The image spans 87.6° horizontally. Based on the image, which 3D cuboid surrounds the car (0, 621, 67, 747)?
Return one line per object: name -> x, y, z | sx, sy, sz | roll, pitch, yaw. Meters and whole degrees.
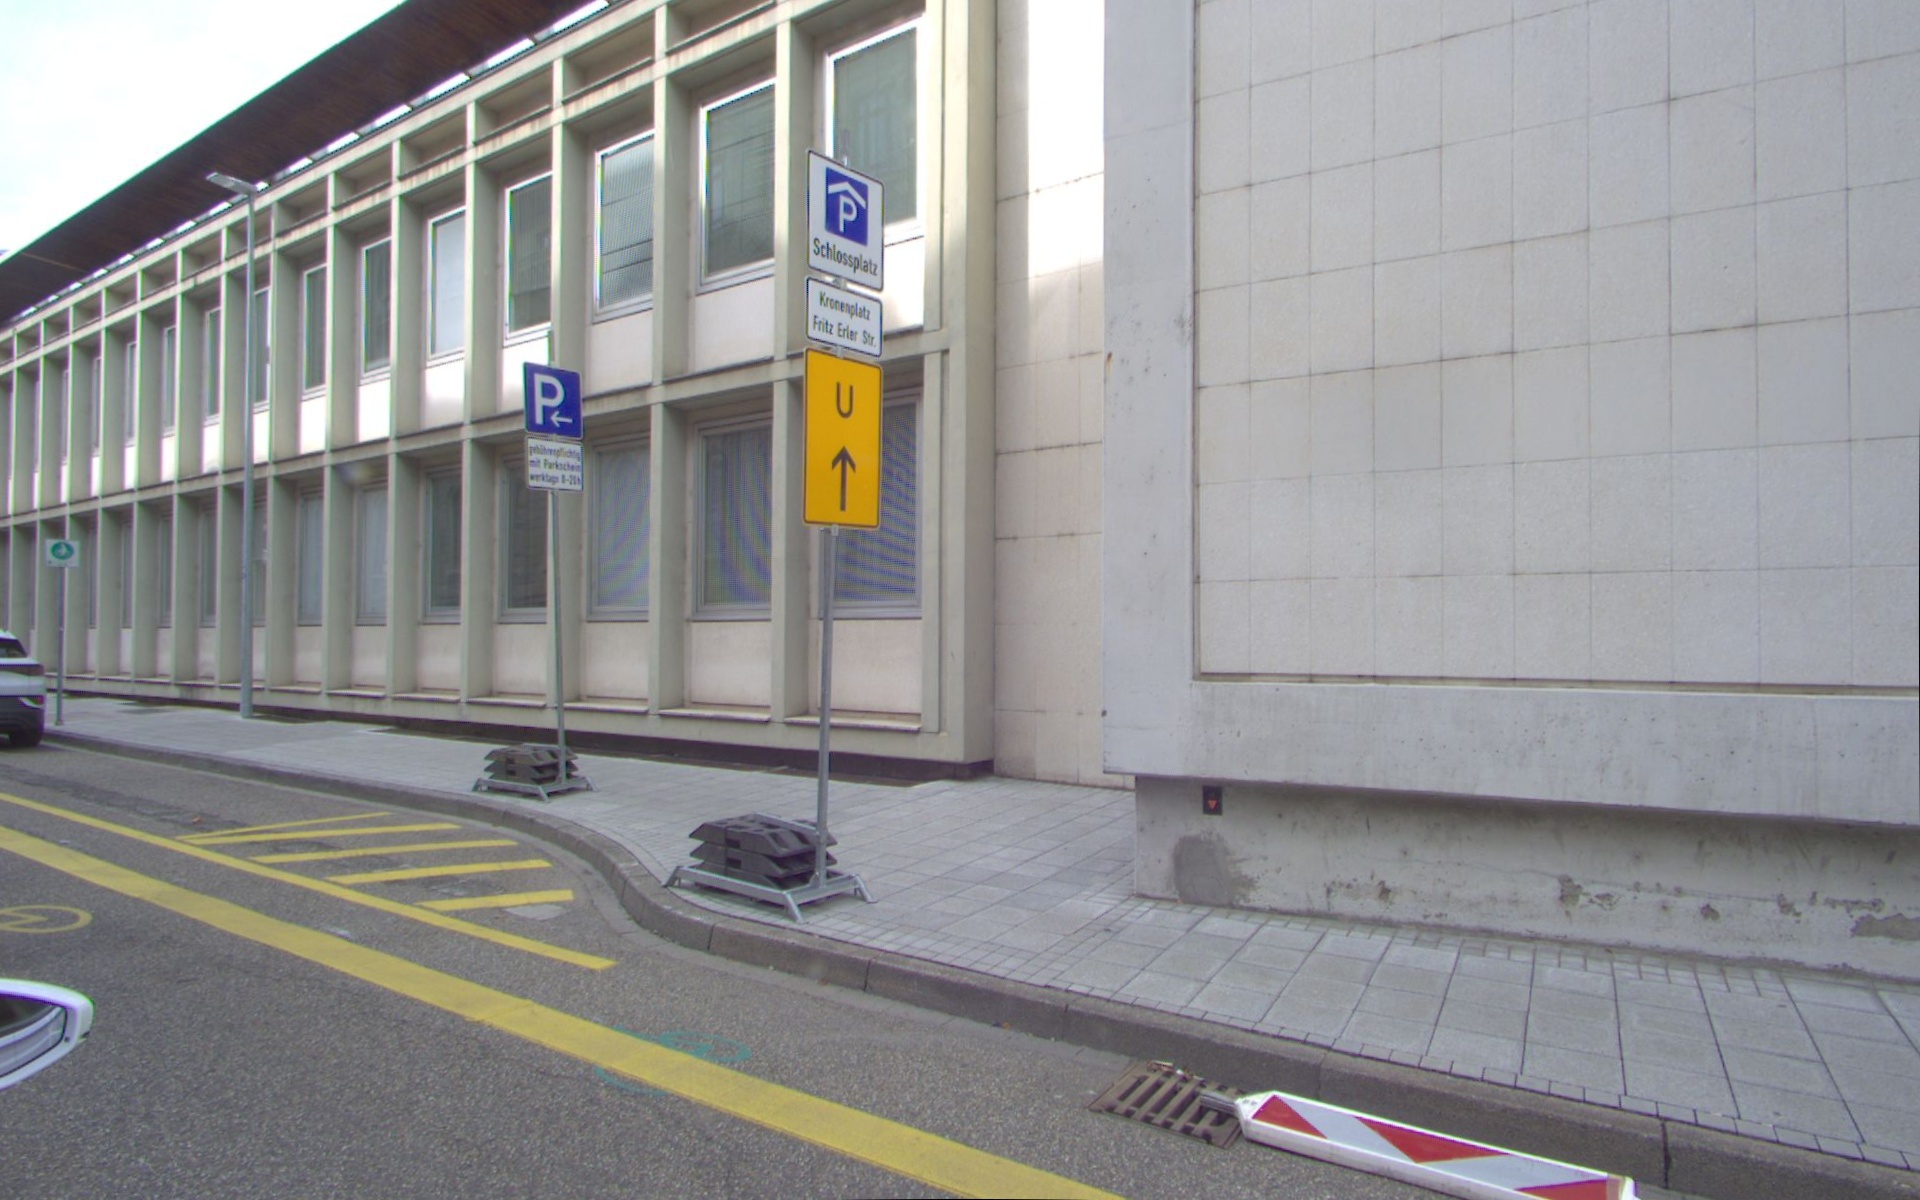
car -> -14.376, 1.103, 13.960 | 4.452, 1.624, 1.857 | -1, -5, 35
